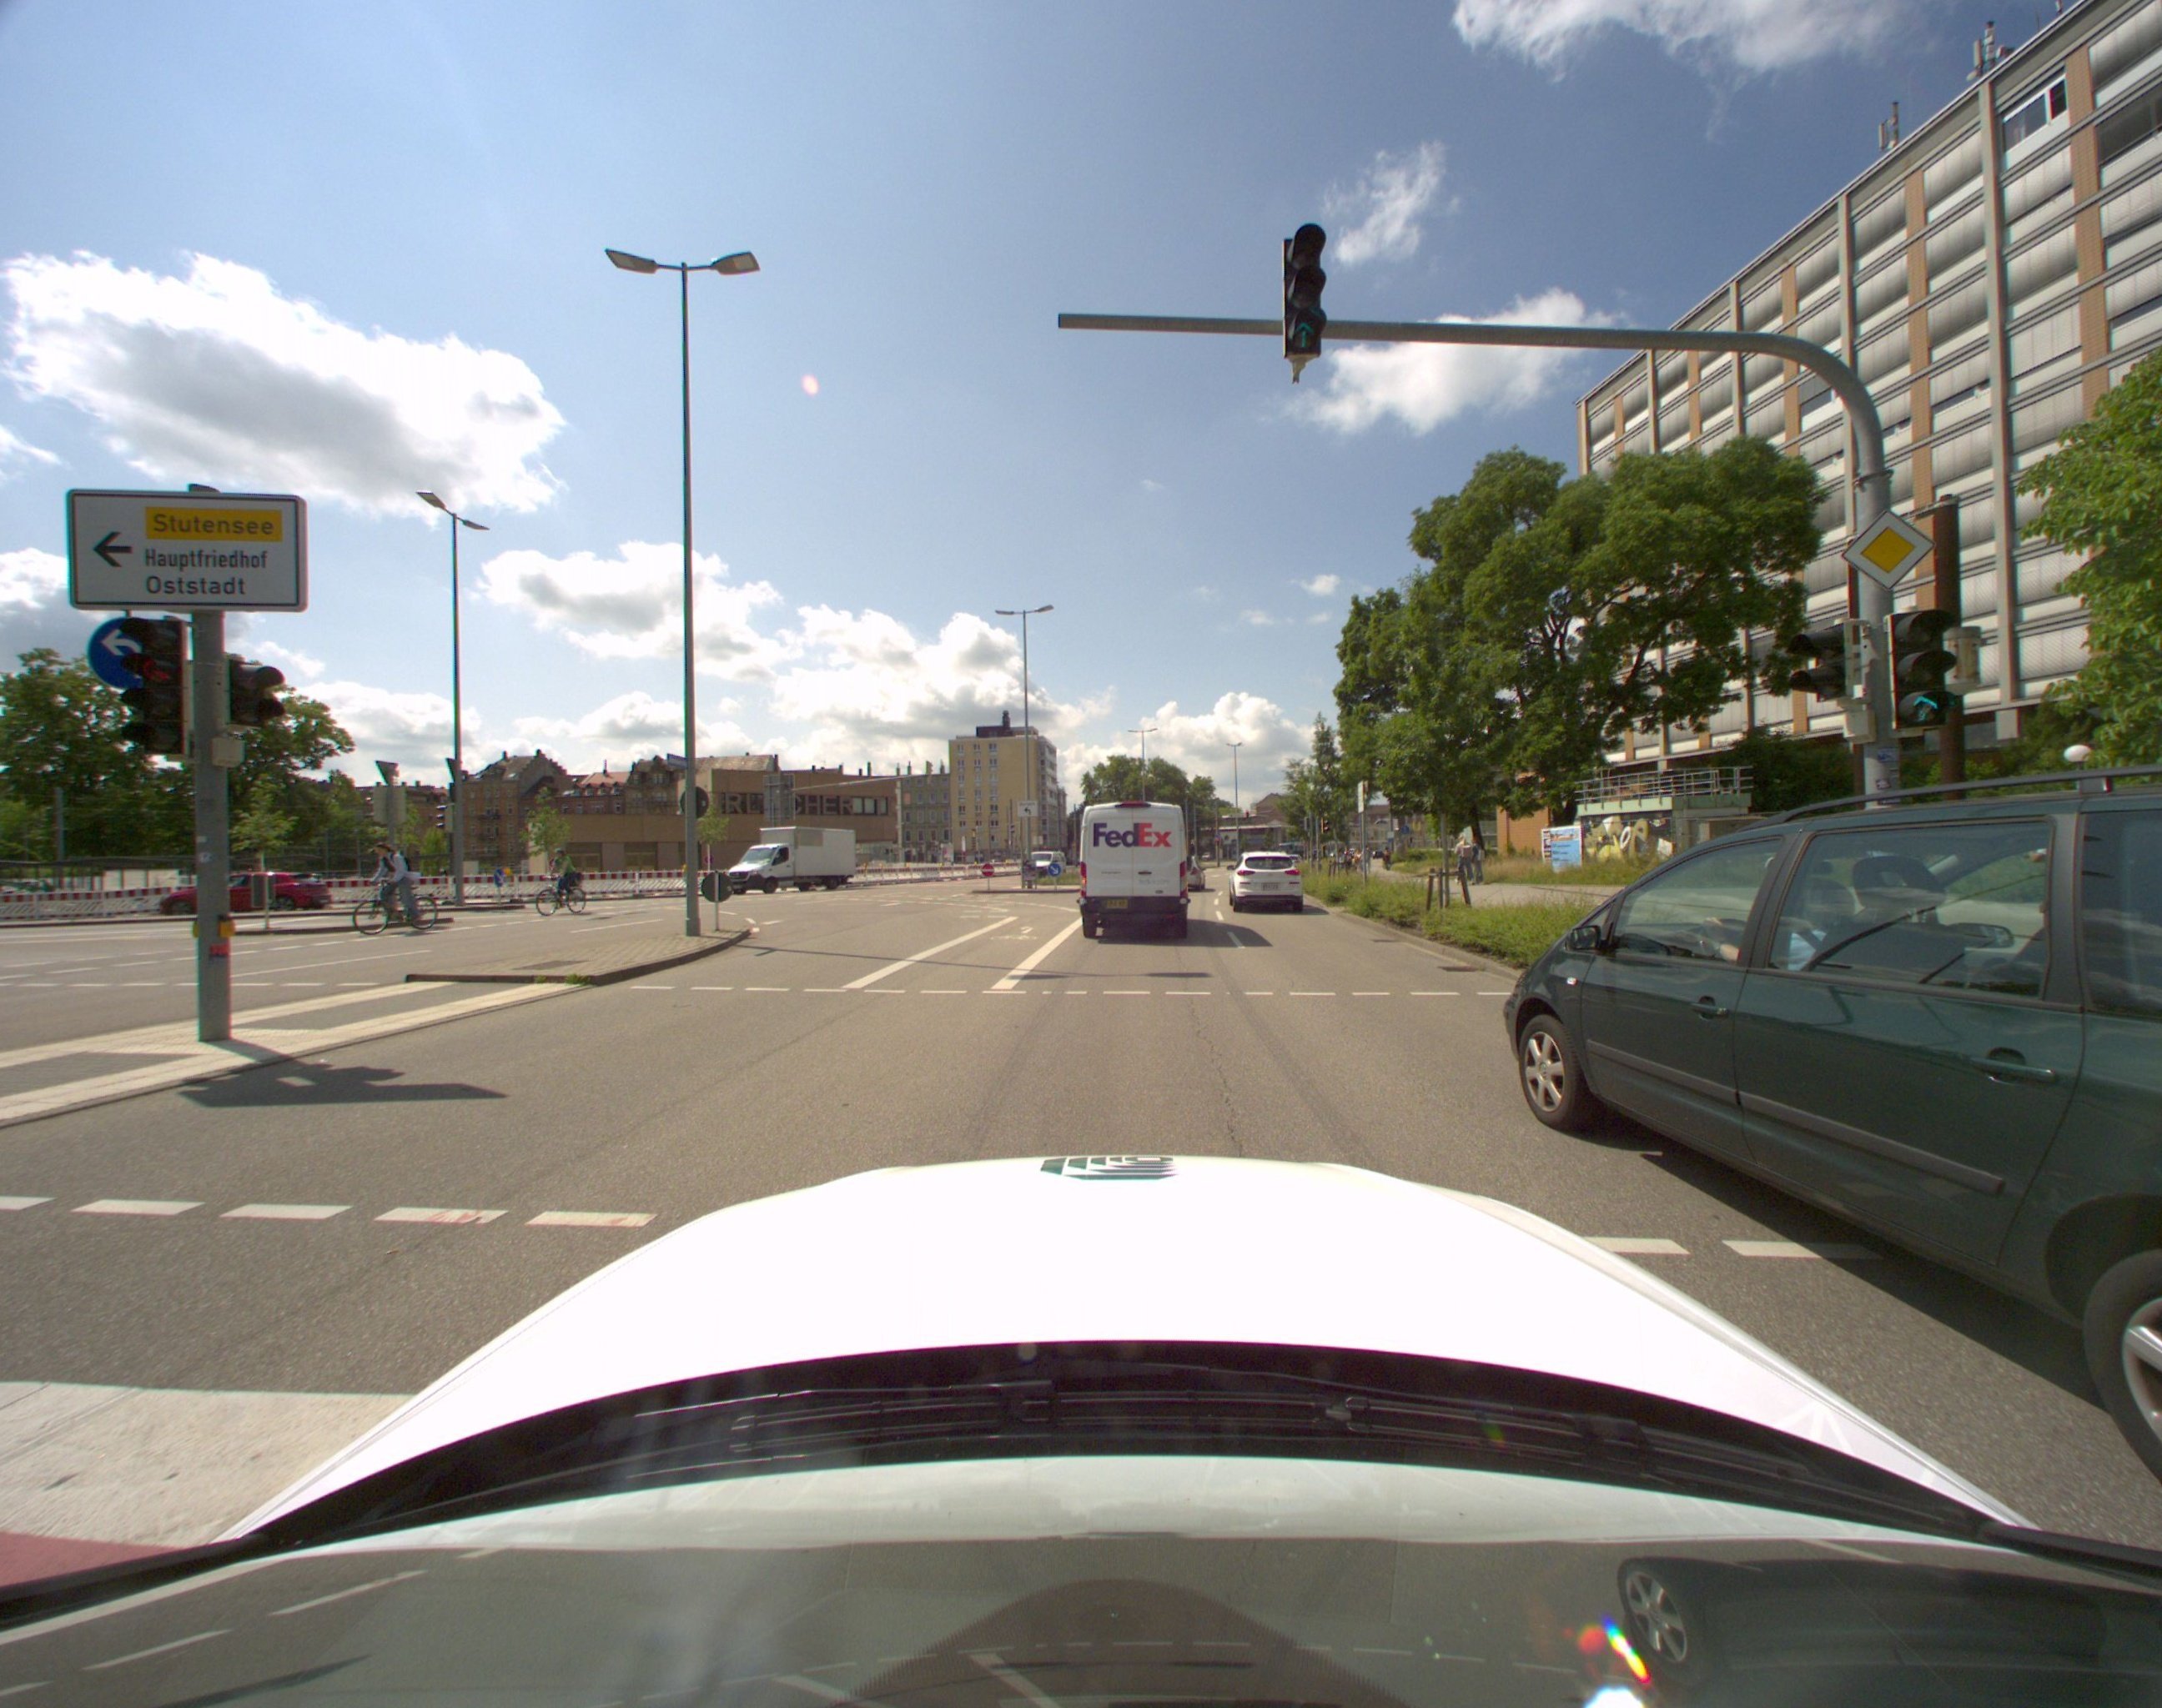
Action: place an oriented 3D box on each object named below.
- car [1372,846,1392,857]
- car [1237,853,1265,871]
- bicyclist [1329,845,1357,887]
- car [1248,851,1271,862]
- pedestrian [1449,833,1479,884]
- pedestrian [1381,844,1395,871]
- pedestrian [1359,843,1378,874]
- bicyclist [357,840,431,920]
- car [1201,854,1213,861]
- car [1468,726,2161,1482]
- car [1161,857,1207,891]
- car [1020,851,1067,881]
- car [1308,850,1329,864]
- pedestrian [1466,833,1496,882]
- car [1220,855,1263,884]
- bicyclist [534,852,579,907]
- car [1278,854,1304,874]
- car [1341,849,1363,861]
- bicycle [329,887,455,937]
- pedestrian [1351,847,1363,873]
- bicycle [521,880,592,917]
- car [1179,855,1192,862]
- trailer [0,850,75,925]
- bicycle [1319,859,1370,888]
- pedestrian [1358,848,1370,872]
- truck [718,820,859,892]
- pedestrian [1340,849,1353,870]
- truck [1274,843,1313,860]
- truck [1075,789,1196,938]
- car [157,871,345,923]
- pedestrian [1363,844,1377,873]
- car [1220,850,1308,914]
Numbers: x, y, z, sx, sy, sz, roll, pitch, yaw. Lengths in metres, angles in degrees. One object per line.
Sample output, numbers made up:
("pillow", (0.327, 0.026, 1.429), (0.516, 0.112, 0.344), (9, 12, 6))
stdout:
("car", (45.913, -0.338, 124.146), (1.863, 1.641, 3.982), (-2, 0, 34))
("car", (17.054, 0.755, 81.349), (1.911, 1.641, 4.817), (-1, 0, 21))
("bicyclist", (10.432, 0.493, 32.436), (0.823, 1.601, 0.580), (-4, -2, 5))
("car", (31.571, 0.391, 143.787), (1.701, 1.800, 4.769), (-3, -1, 43))
("pedestrian", (13.922, 0.160, 29.582), (0.746, 1.802, 0.610), (-3, 0, 5))
("pedestrian", (21.216, 0.242, 56.335), (0.751, 1.821, 0.675), (0, -1, 8))
("pedestrian", (17.713, 0.287, 50.147), (0.753, 1.821, 0.780), (-5, -1, 1))
("bicyclist", (-14.374, 0.532, 17.056), (0.773, 1.618, 0.843), (-2, 0, 1))
("car", (29.058, 0.916, 187.575), (1.977, 1.574, 4.199), (0, -1, 20))
("car", (3.403, 0.580, 3.174), (1.787, 1.723, 4.449), (1, 0, 2))
("car", (4.622, 0.845, 36.141), (1.730, 1.391, 4.192), (-1, 0, 11))
("car", (-2.467, 0.783, 54.627), (1.868, 1.894, 4.886), (-1, 0, 12))
("car", (29.795, 0.336, 101.939), (1.864, 1.641, 3.980), (-1, 0, 26))
("pedestrian", (14.746, 0.135, 30.024), (0.746, 1.752, 0.610), (-3, 0, 5))
("car", (8.338, 0.780, 42.531), (1.905, 1.420, 3.925), (-1, 0, 7))
("bicyclist", (-14.205, 0.683, 22.064), (0.562, 1.461, 0.839), (-2, 0, 9))
("car", (18.312, 0.856, 70.843), (1.866, 1.641, 3.976), (-1, 0, 19))
("car", (39.107, 0.077, 117.452), (1.863, 1.641, 3.982), (-2, 0, 34))
("bicycle", (-14.355, 1.186, 17.068), (0.773, 0.889, 2.109), (-2, 0, 2))
("pedestrian", (17.970, 0.394, 53.087), (0.584, 1.626, 0.729), (0, -1, 7))
("bicycle", (-14.187, 1.181, 22.065), (0.563, 0.889, 1.748), (-2, 0, 9))
("car", (24.364, 0.958, 189.649), (1.977, 1.574, 4.199), (0, -1, 20))
("trailer", (-42.693, 1.302, 31.608), (1.974, 2.914, 4.393), (-1, -1, 35))
("bicycle", (10.471, 0.773, 32.425), (1.800, 1.050, 0.592), (-4, -2, 5))
("pedestrian", (19.792, 0.434, 56.965), (0.644, 1.626, 0.778), (-4, -2, 22))
("truck", (-13.591, 0.141, 38.630), (1.977, 3.068, 7.367), (-1, -1, 20))
("pedestrian", (19.855, 0.422, 60.857), (0.753, 1.590, 0.761), (0, -1, 1))
("truck", (37.476, -0.419, 143.352), (2.858, 2.852, 8.847), (-2, 0, 41))
("truck", (1.145, 0.201, 17.457), (2.128, 2.640, 5.922), (0, -1, 3))
("car", (-27.735, 1.408, 27.367), (3.898, 1.486, 1.990), (-2, 0, -14))
("pedestrian", (18.788, 0.296, 52.963), (0.752, 1.821, 0.639), (0, -1, 7))
("car", (5.160, 0.725, 23.491), (1.872, 1.641, 4.238), (-1, 0, 5))
